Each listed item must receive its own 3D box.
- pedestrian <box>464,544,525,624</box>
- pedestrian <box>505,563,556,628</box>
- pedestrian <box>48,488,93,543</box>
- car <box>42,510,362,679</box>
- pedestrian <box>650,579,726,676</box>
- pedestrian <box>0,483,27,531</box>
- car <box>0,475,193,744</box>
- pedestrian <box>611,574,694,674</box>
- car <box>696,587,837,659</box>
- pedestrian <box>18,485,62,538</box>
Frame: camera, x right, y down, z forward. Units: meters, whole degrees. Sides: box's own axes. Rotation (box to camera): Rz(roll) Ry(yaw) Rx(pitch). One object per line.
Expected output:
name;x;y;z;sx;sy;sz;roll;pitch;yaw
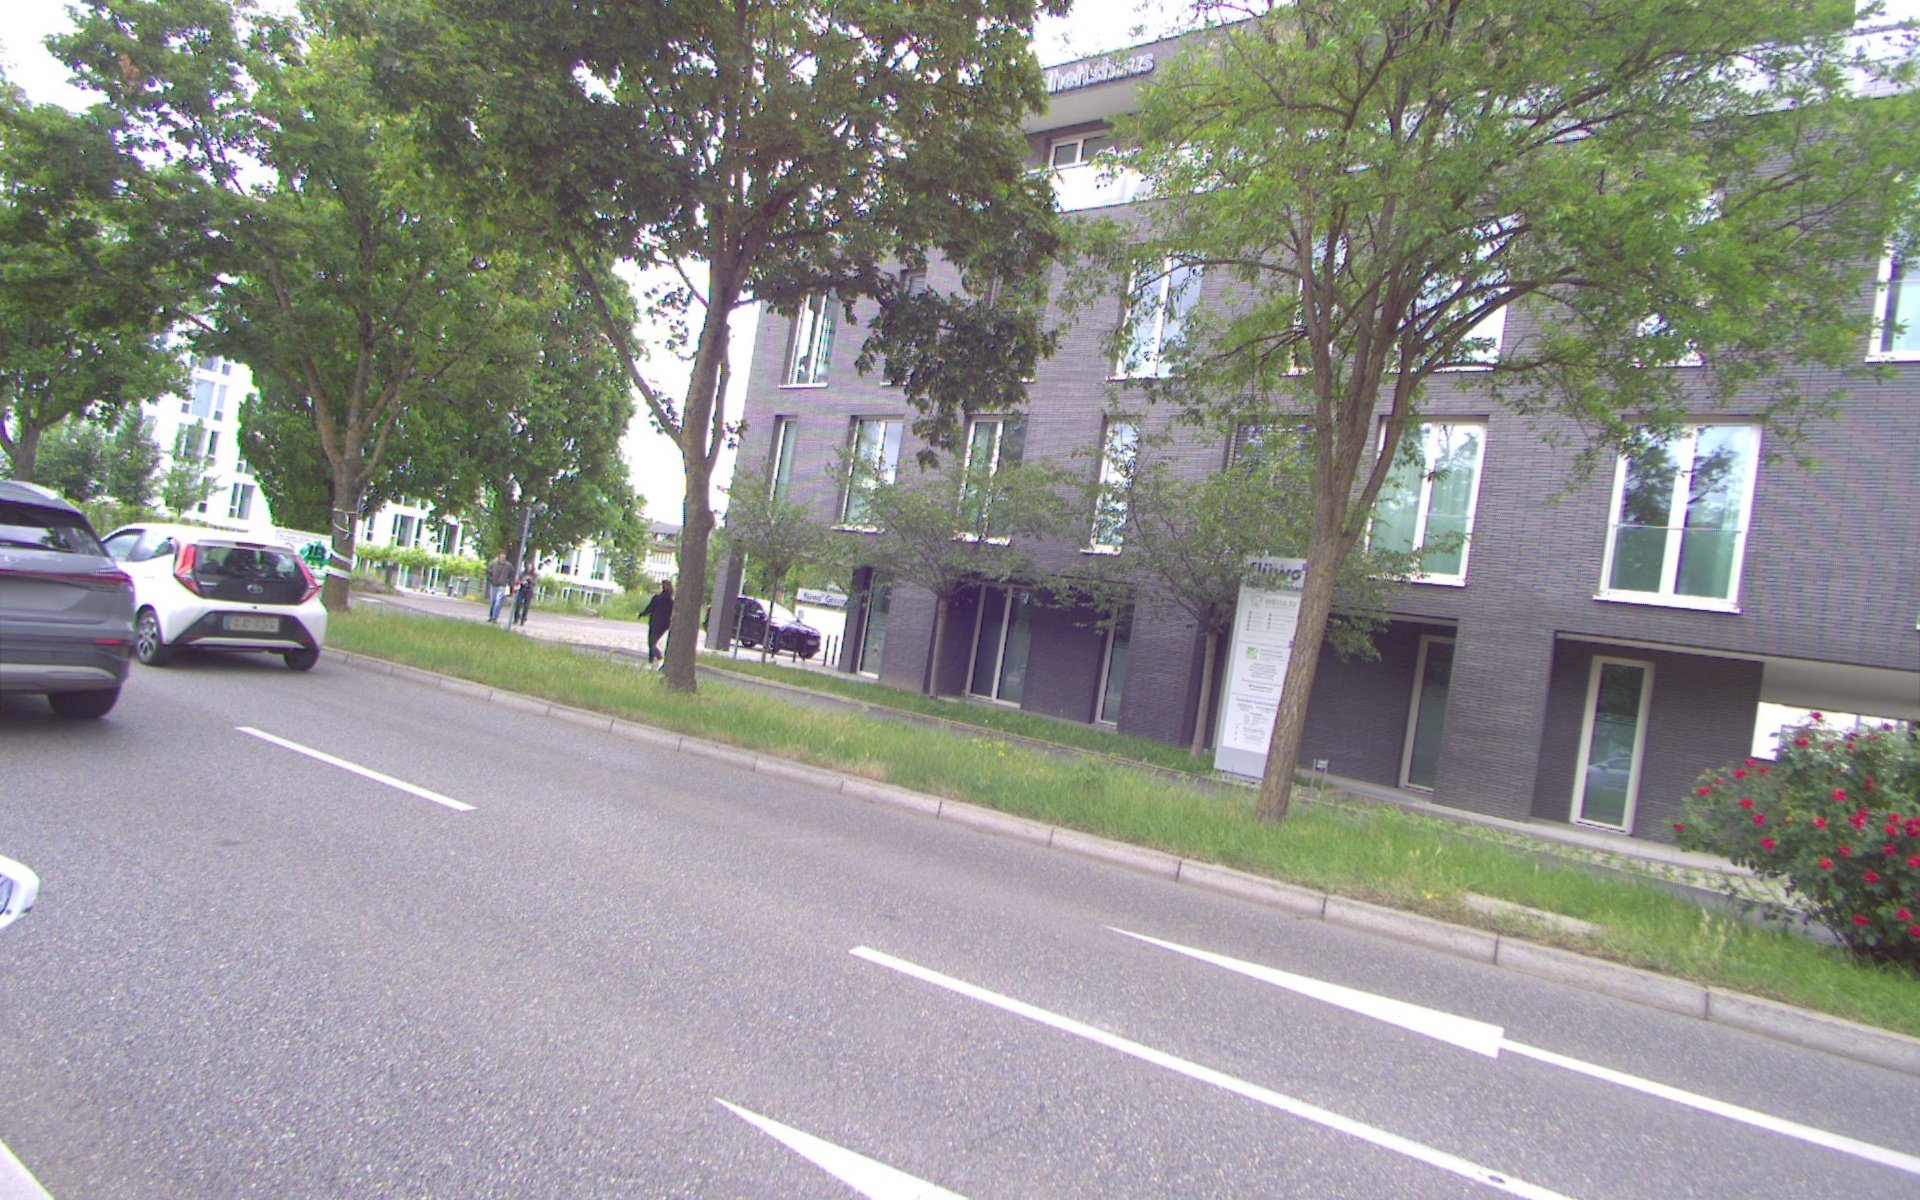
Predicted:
pedestrian;-12.016;-0.396;26.020;0.946;1.889;0.978;8;-1;-8
pedestrian;-11.310;-0.115;26.509;0.821;1.575;0.875;8;-1;-8
pedestrian;-30.337;-2.873;34.325;0.868;1.705;0.768;6;-1;31
car;-8.655;-0.080;11.441;3.476;1.442;1.656;7;-1;32
pedestrian;-5.171;0.519;19.122;0.937;1.679;0.779;7;-1;38
pedestrian;-31.450;-3.072;33.014;1.093;1.465;0.791;6;-1;31
car;-7.590;-0.153;7.122;4.242;1.614;1.896;7;-2;32
pedestrian;-5.650;0.442;18.493;1.043;1.679;0.796;7;-1;38
car;-6.109;0.714;31.687;4.080;1.665;1.759;7;-2;32
pedestrian;-30.793;-2.959;33.672;0.868;1.614;0.701;6;-1;31
